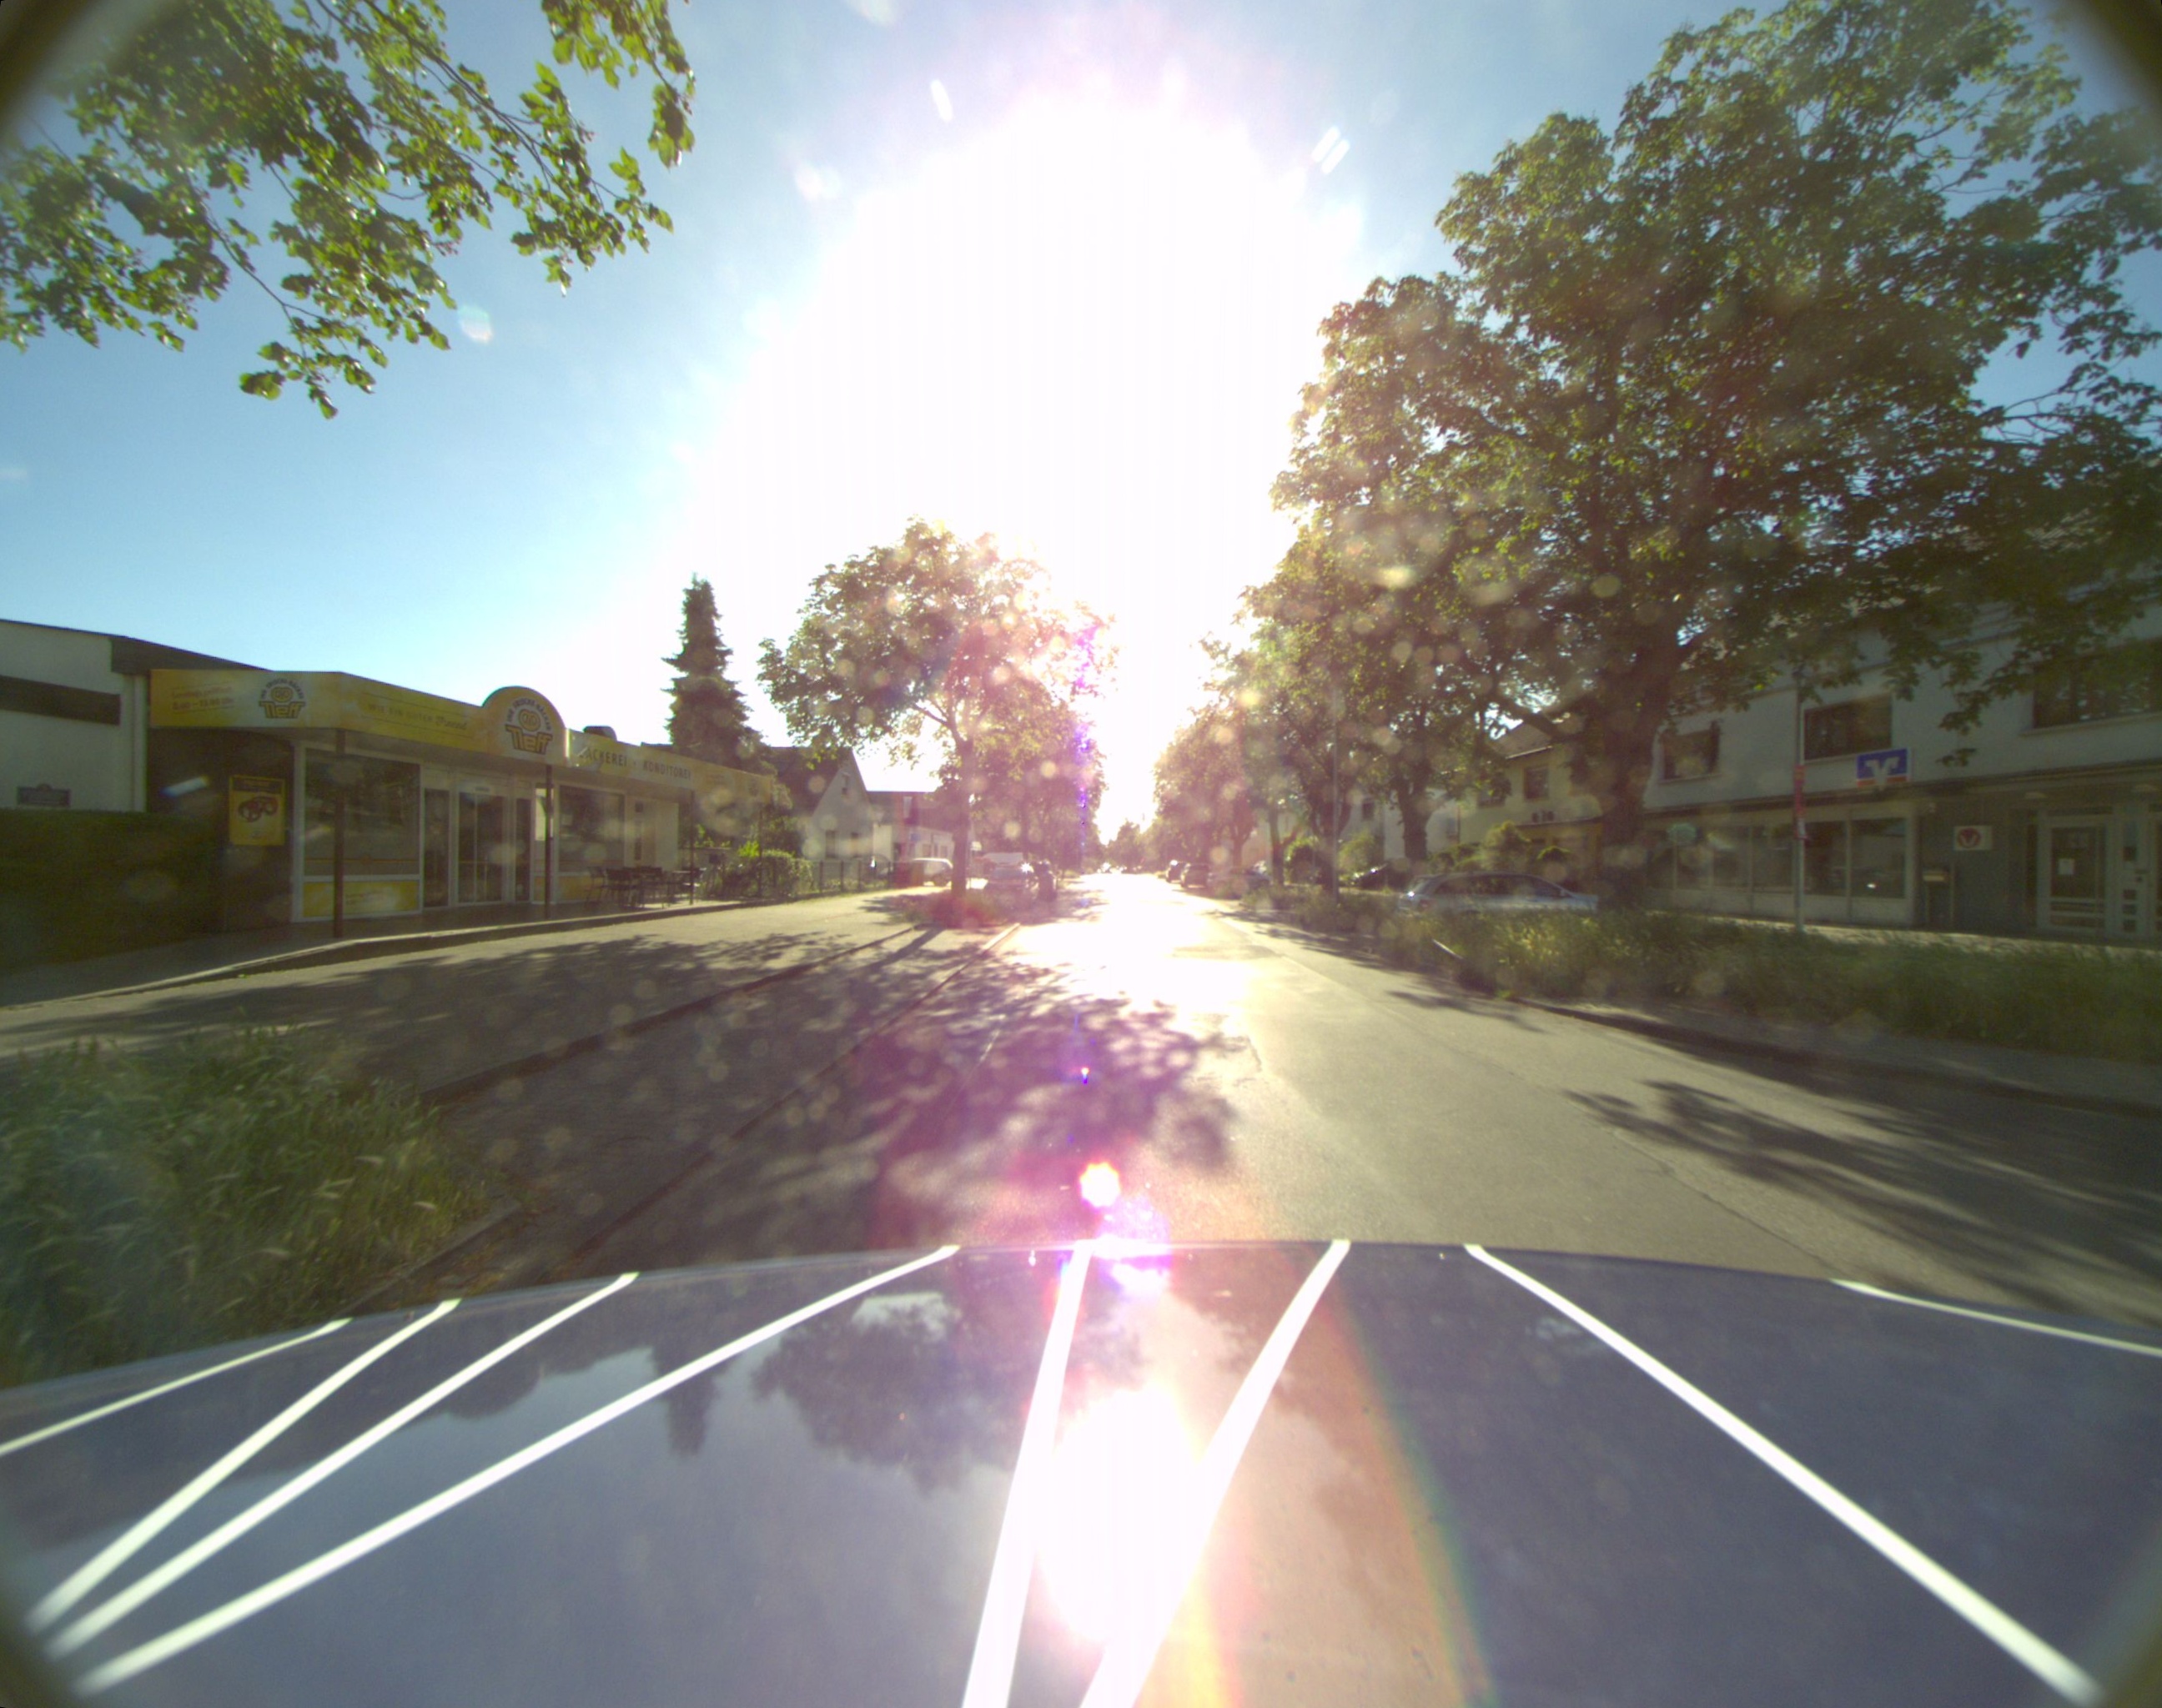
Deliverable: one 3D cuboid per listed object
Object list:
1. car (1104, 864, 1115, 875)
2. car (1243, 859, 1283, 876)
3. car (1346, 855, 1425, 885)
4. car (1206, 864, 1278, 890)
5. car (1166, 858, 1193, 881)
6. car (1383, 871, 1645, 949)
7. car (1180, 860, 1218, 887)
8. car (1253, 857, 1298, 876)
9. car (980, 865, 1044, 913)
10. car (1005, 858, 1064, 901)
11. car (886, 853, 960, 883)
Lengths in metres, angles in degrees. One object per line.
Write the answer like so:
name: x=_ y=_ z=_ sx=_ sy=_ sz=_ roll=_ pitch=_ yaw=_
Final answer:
car: x=4.670 y=2.486 z=123.217 sx=1.539 sy=1.582 sz=3.459 roll=-3 pitch=1 yaw=4
car: x=20.260 y=1.493 z=84.759 sx=3.997 sy=1.674 sz=2.000 roll=-3 pitch=1 yaw=1
car: x=17.215 y=0.890 z=43.043 sx=3.773 sy=1.556 sz=1.692 roll=1 pitch=1 yaw=5
car: x=9.165 y=1.311 z=43.374 sx=3.694 sy=1.315 sz=1.624 roll=-2 pitch=1 yaw=-4
car: x=7.698 y=1.179 z=59.569 sx=1.815 sy=1.722 sz=4.056 roll=0 pitch=0 yaw=4
car: x=8.979 y=1.129 z=16.057 sx=4.392 sy=1.408 sz=2.000 roll=-1 pitch=1 yaw=1
car: x=7.429 y=1.217 z=48.256 sx=1.998 sy=1.530 sz=3.695 roll=-3 pitch=0 yaw=4
car: x=19.627 y=1.235 z=76.927 sx=3.997 sy=1.674 sz=2.000 roll=-3 pitch=1 yaw=1
car: x=-2.304 y=1.154 z=26.253 sx=1.689 sy=1.414 sz=3.777 roll=1 pitch=1 yaw=3
car: x=-1.919 y=1.042 z=32.581 sx=1.941 sy=1.684 sz=4.363 roll=0 pitch=0 yaw=4
car: x=-8.560 y=0.747 z=41.480 sx=3.621 sy=1.431 sz=1.695 roll=-3 pitch=1 yaw=-1
